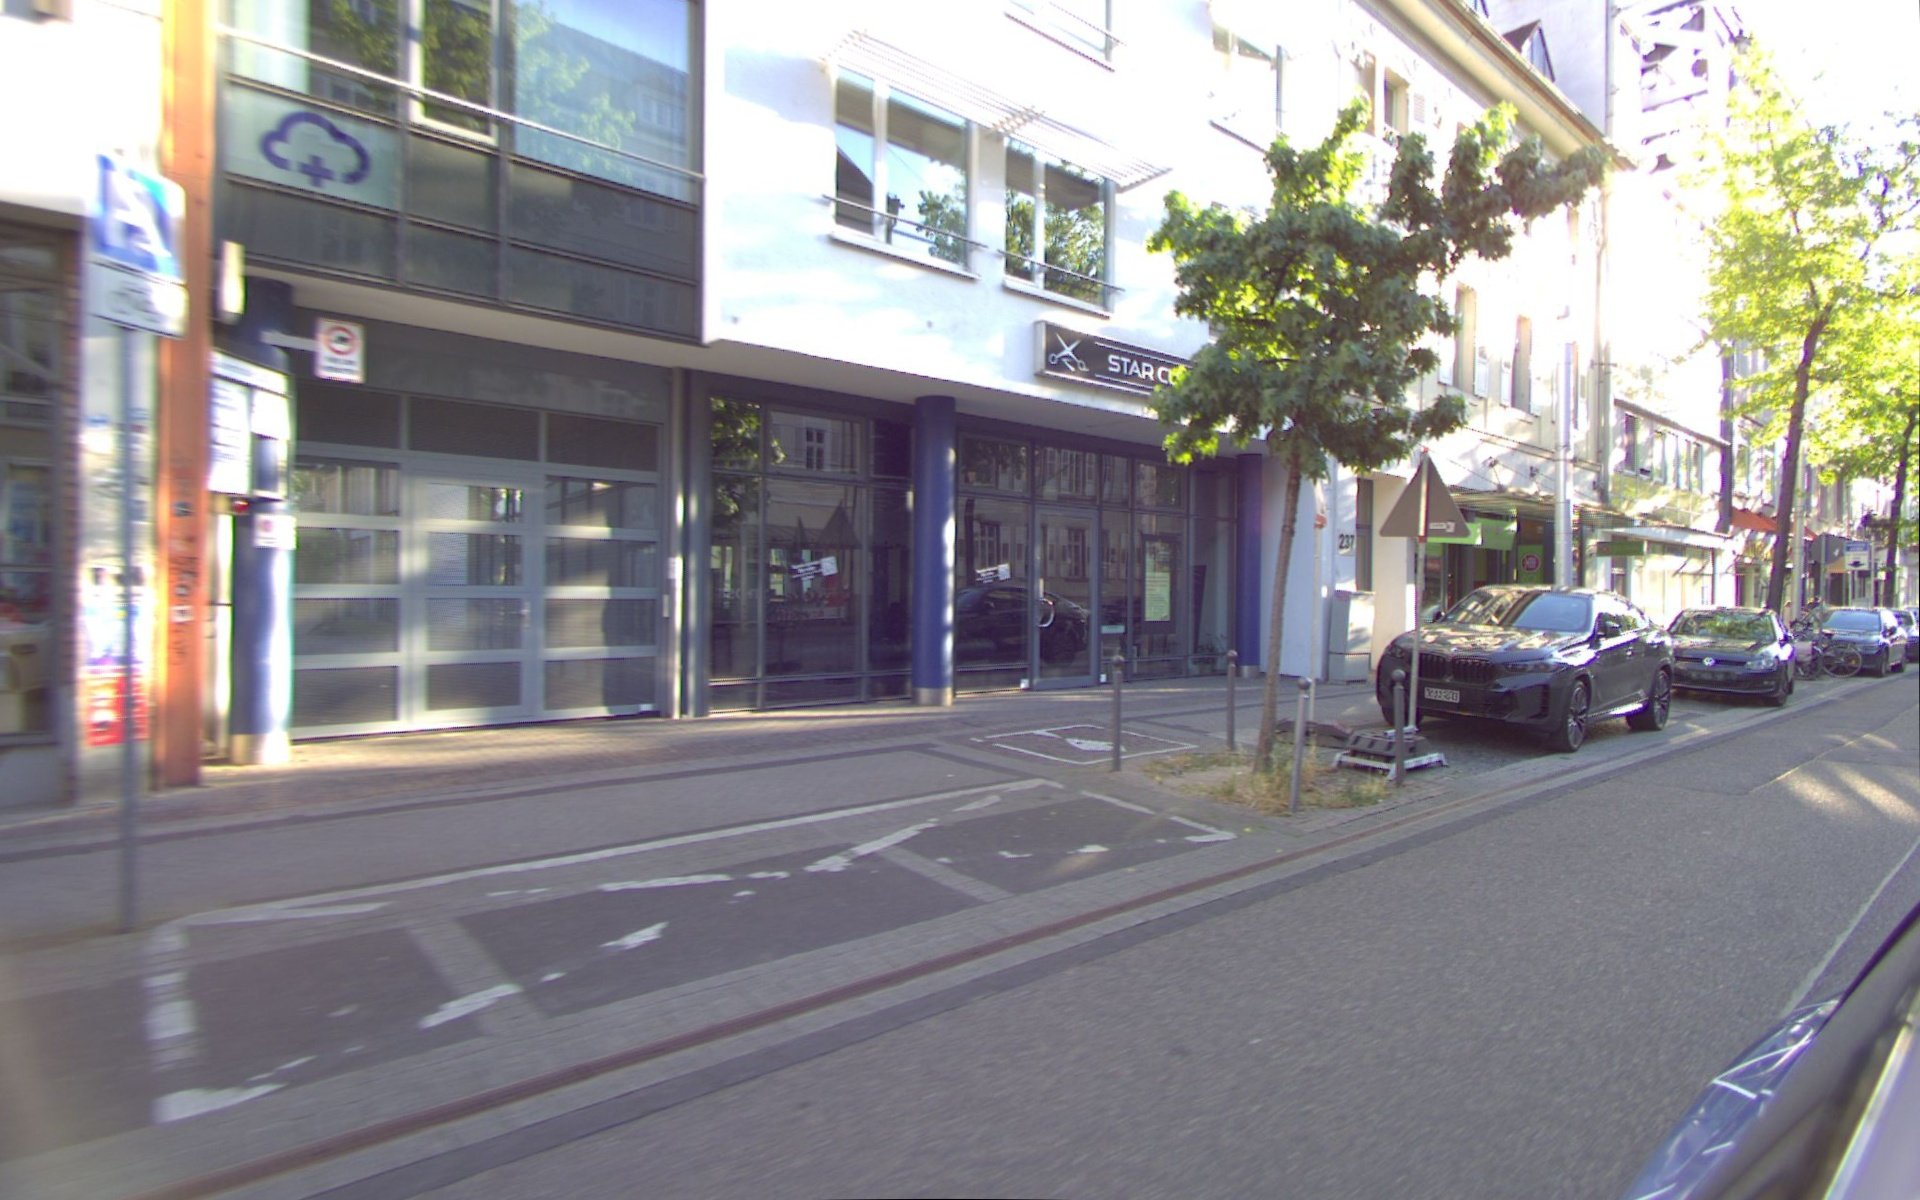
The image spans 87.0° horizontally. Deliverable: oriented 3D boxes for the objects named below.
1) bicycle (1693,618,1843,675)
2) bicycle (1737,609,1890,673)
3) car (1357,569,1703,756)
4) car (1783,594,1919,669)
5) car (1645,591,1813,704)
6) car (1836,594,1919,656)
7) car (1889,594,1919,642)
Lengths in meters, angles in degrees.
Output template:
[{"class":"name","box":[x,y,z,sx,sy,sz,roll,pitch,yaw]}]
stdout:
[{"class":"bicycle","box":[15.976,0.890,20.076,0.603,1.000,2.249,0,0,-38]},{"class":"bicycle","box":[17.615,0.811,20.952,0.737,1.203,2.325,0,0,-38]},{"class":"car","box":[6.841,0.565,11.908,4.788,1.709,1.984,0,3,-41]},{"class":"car","box":[20.136,0.640,22.735,4.210,1.530,1.769,0,0,-40]},{"class":"car","box":[12.796,0.661,16.747,1.864,1.529,4.181,4,3,41]},{"class":"car","box":[26.356,0.649,28.509,4.211,1.529,1.869,0,3,-40]},{"class":"car","box":[32.751,0.614,33.974,3.915,1.529,1.798,0,3,-40]}]
